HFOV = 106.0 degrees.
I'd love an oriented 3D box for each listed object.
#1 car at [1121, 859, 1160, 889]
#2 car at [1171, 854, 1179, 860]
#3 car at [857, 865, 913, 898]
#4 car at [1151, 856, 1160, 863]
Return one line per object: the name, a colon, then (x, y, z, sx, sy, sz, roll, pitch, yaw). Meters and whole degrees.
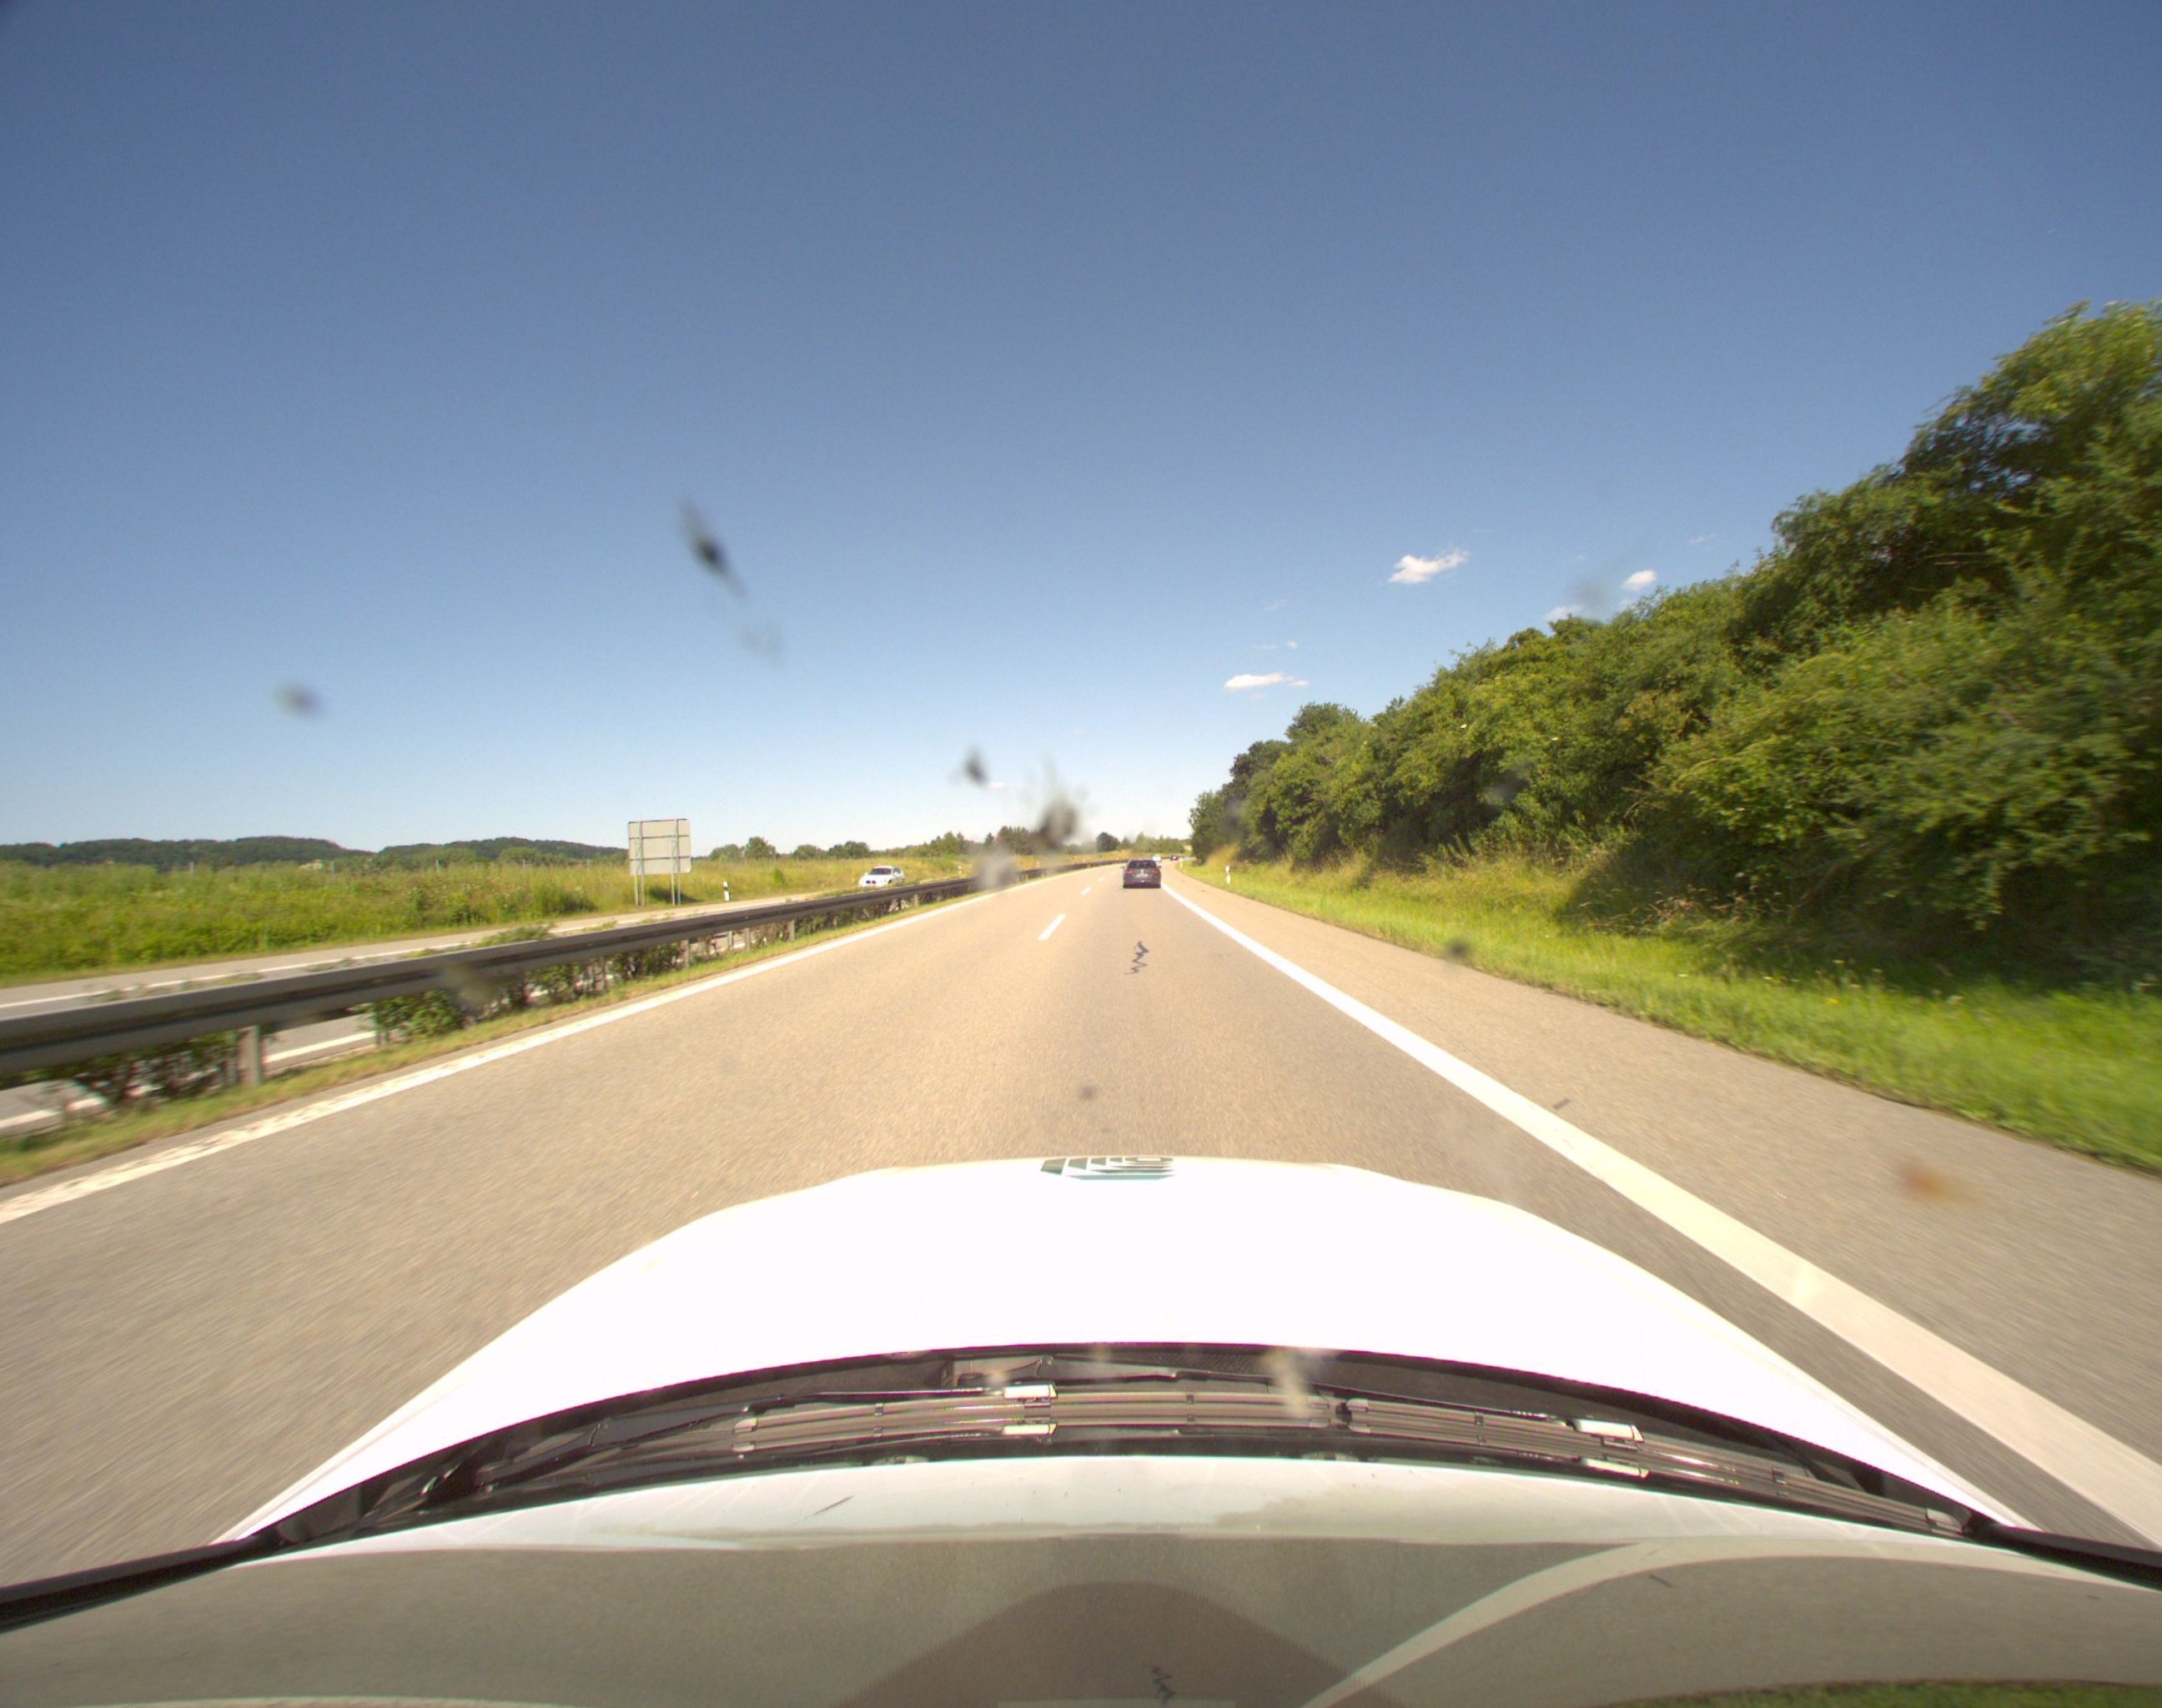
car: (2.866, 0.934, 39.234, 1.783, 1.344, 4.004, 0, -1, 4)
car: (23.426, 0.836, 203.572, 1.700, 1.387, 3.365, 0, -1, 11)
car: (-11.566, 1.580, 48.360, 1.758, 1.623, 5.012, -5, 0, 3)
car: (16.266, 1.183, 178.323, 1.997, 1.345, 4.006, 0, -1, 6)
